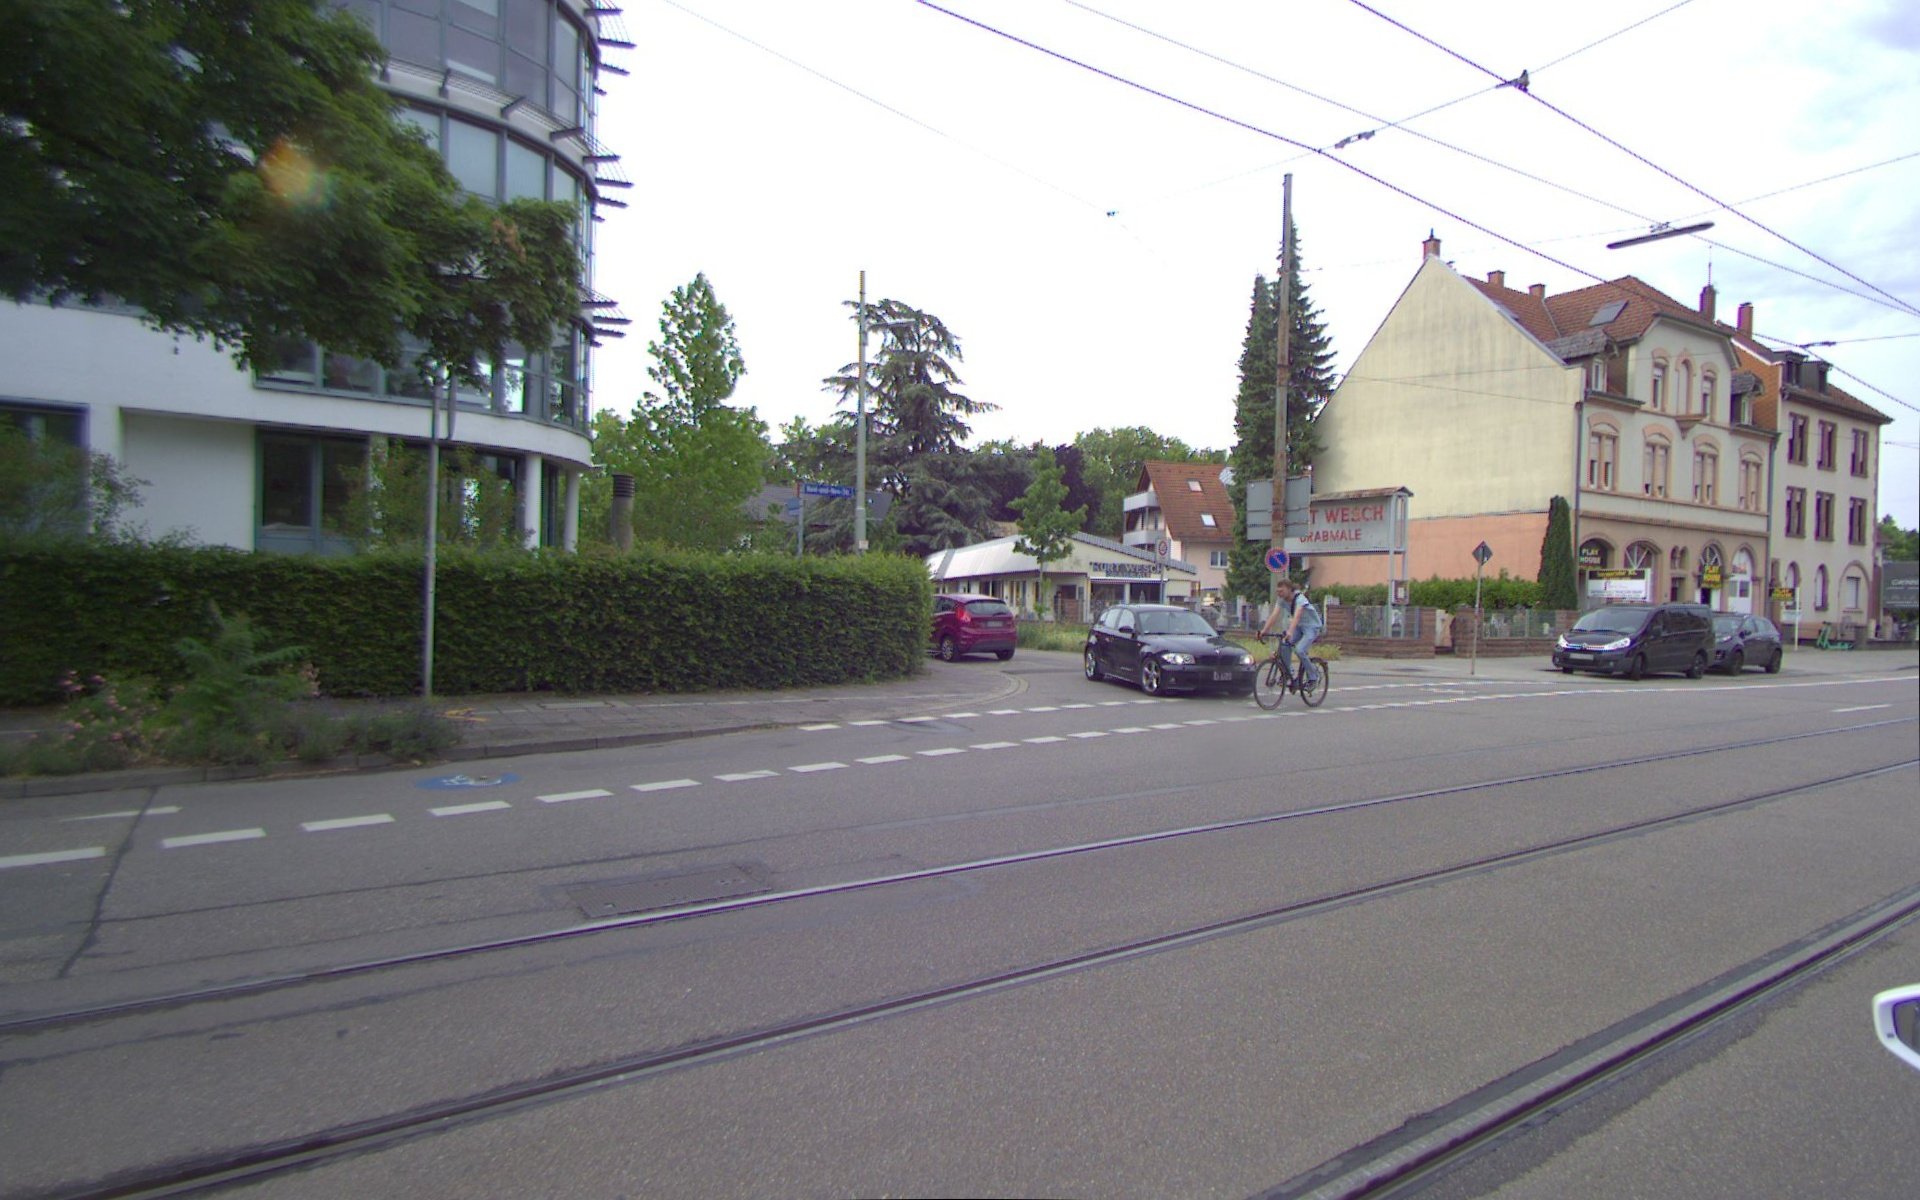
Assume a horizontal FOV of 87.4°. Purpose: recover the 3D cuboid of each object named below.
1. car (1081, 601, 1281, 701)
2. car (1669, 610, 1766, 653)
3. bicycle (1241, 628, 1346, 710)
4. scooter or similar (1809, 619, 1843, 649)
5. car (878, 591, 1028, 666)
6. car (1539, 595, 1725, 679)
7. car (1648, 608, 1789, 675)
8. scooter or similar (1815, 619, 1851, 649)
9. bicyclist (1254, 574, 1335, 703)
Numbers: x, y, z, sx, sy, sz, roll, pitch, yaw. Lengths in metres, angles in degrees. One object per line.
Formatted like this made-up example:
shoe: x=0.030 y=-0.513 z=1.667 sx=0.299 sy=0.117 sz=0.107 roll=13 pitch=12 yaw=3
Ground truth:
car: x=3.505 y=0.762 z=16.693 sx=1.771 sy=1.406 sz=3.923 roll=1 pitch=0 yaw=-12
car: x=29.589 y=1.245 z=39.221 sx=3.705 sy=1.520 sz=1.743 roll=2 pitch=1 yaw=-32
bicycle: x=4.796 y=0.953 z=14.372 sx=1.944 sy=1.088 sz=0.581 roll=2 pitch=-1 yaw=-44
scooter or similar: x=37.405 y=1.454 z=43.387 sx=1.032 sy=1.204 sz=0.318 roll=3 pitch=1 yaw=25
car: x=-0.241 y=0.573 z=23.037 sx=1.749 sy=1.437 sz=3.687 roll=-1 pitch=3 yaw=-33
car: x=17.300 y=0.944 z=25.808 sx=4.941 sy=1.912 sz=1.982 roll=2 pitch=1 yaw=-31
car: x=22.018 y=1.190 z=29.131 sx=4.146 sy=1.741 sz=1.834 roll=2 pitch=1 yaw=-32
scooter or similar: x=37.213 y=1.453 z=42.817 sx=1.032 sy=1.204 sz=0.318 roll=3 pitch=1 yaw=25
bicyclist: x=4.786 y=0.539 z=14.361 sx=0.972 sy=1.772 sz=0.728 roll=1 pitch=-1 yaw=-44
